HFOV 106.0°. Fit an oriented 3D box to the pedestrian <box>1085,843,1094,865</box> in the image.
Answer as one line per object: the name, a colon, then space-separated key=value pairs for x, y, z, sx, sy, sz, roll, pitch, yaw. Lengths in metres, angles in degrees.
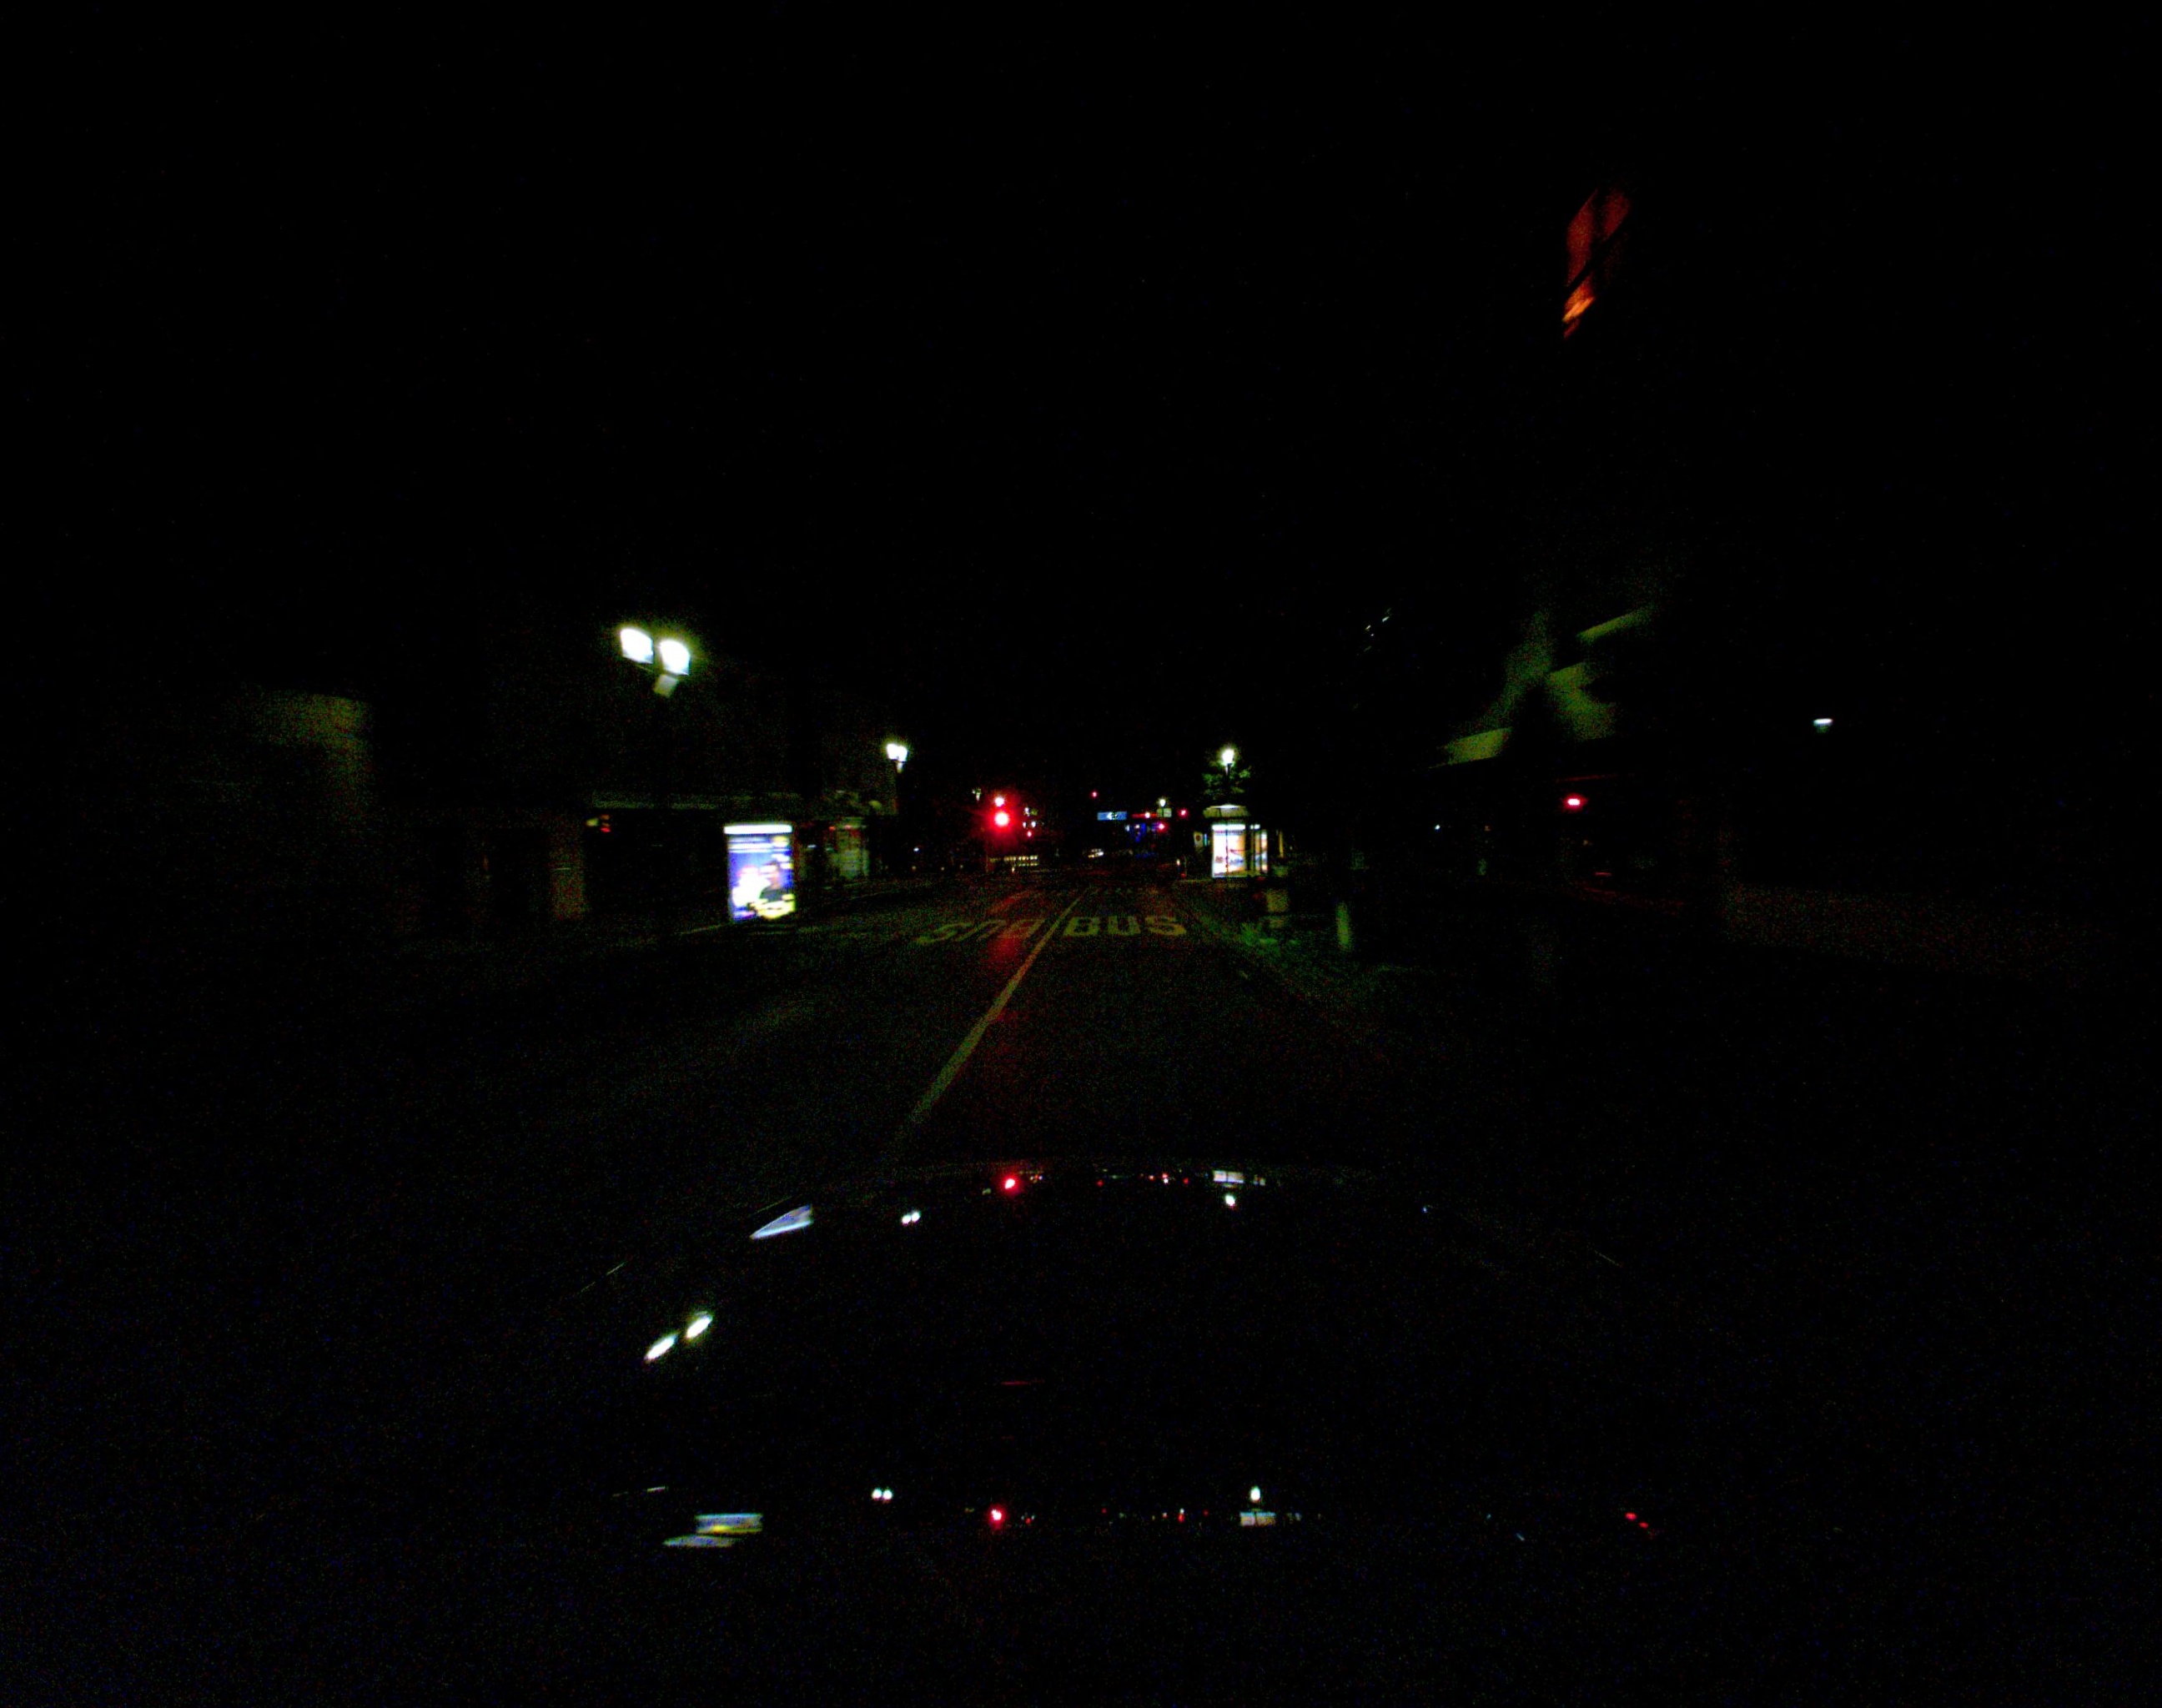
pedestrian: x=0.747 y=0.008 z=70.040 sx=0.732 sy=1.795 sz=0.718 roll=-1 pitch=-1 yaw=-1

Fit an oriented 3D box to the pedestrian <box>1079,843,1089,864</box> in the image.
pedestrian: x=0.255 y=-0.044 z=70.590 sx=0.572 sy=1.795 sz=0.710 roll=0 pitch=-2 yaw=-37

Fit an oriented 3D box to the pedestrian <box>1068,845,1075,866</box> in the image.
pedestrian: x=-0.836 y=0.113 z=70.636 sx=0.566 sy=1.795 sz=0.717 roll=-1 pitch=-1 yaw=-2

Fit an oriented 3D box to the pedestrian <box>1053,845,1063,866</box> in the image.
pedestrian: x=-1.933 y=0.131 z=69.645 sx=0.711 sy=1.795 sz=0.571 roll=-1 pitch=-1 yaw=10

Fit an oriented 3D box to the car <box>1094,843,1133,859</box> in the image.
car: x=3.493 y=-0.289 z=87.392 sx=3.765 sy=1.618 sz=1.822 roll=0 pitch=-1 yaw=-21

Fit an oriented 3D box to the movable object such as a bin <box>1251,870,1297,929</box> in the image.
movable object such as a bin: x=3.181 y=0.734 z=13.458 sx=0.523 sy=0.937 sz=0.628 roll=-1 pitch=-1 yaw=-8

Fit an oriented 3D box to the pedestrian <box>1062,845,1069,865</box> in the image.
pedestrian: x=-1.413 y=0.122 z=72.731 sx=0.565 sy=1.795 sz=0.718 roll=-1 pitch=-1 yaw=1
